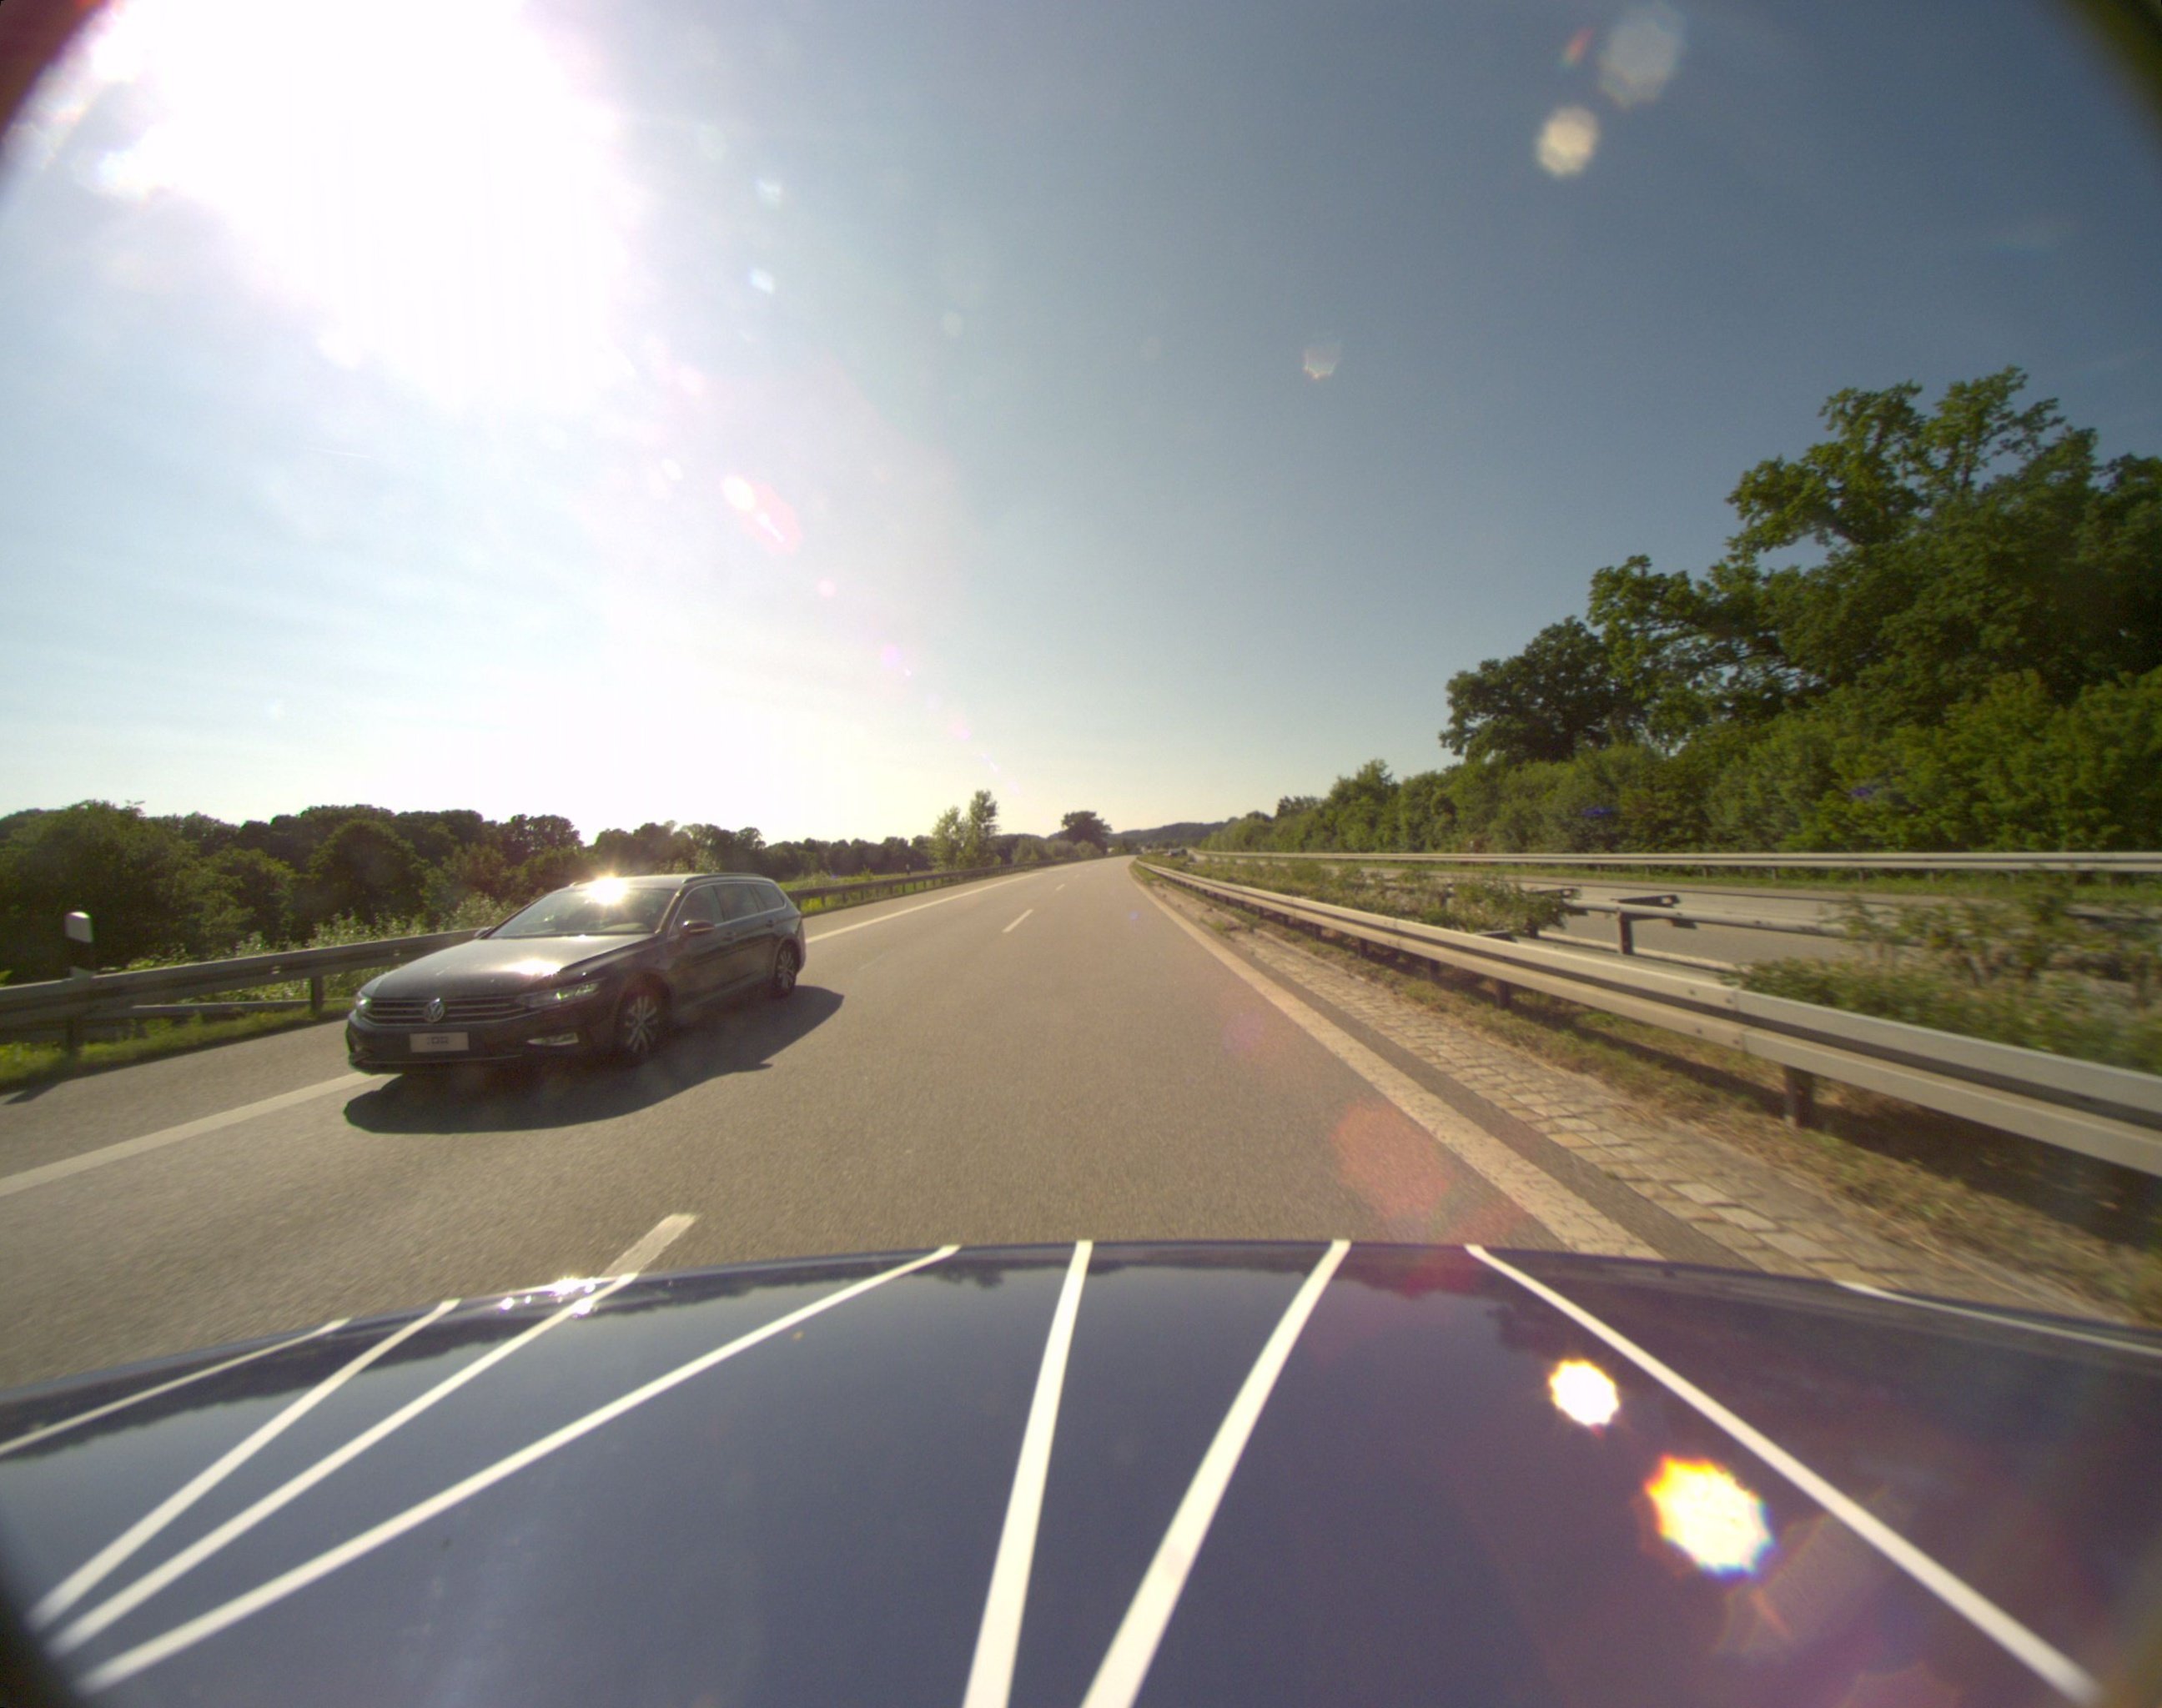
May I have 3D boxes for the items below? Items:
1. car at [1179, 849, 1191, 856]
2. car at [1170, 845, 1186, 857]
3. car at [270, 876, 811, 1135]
[{"bbox_3d":[21.553,-0.341,157.990,1.998,1.424,4.487,-1,0,3],"label":"car"},{"bbox_3d":[12.123,-0.353,95.457,1.733,1.420,3.882,-1,1,4],"label":"car"},{"bbox_3d":[-4.182,1.023,6.987,1.723,1.392,4.413,-2,1,1],"label":"car"}]
